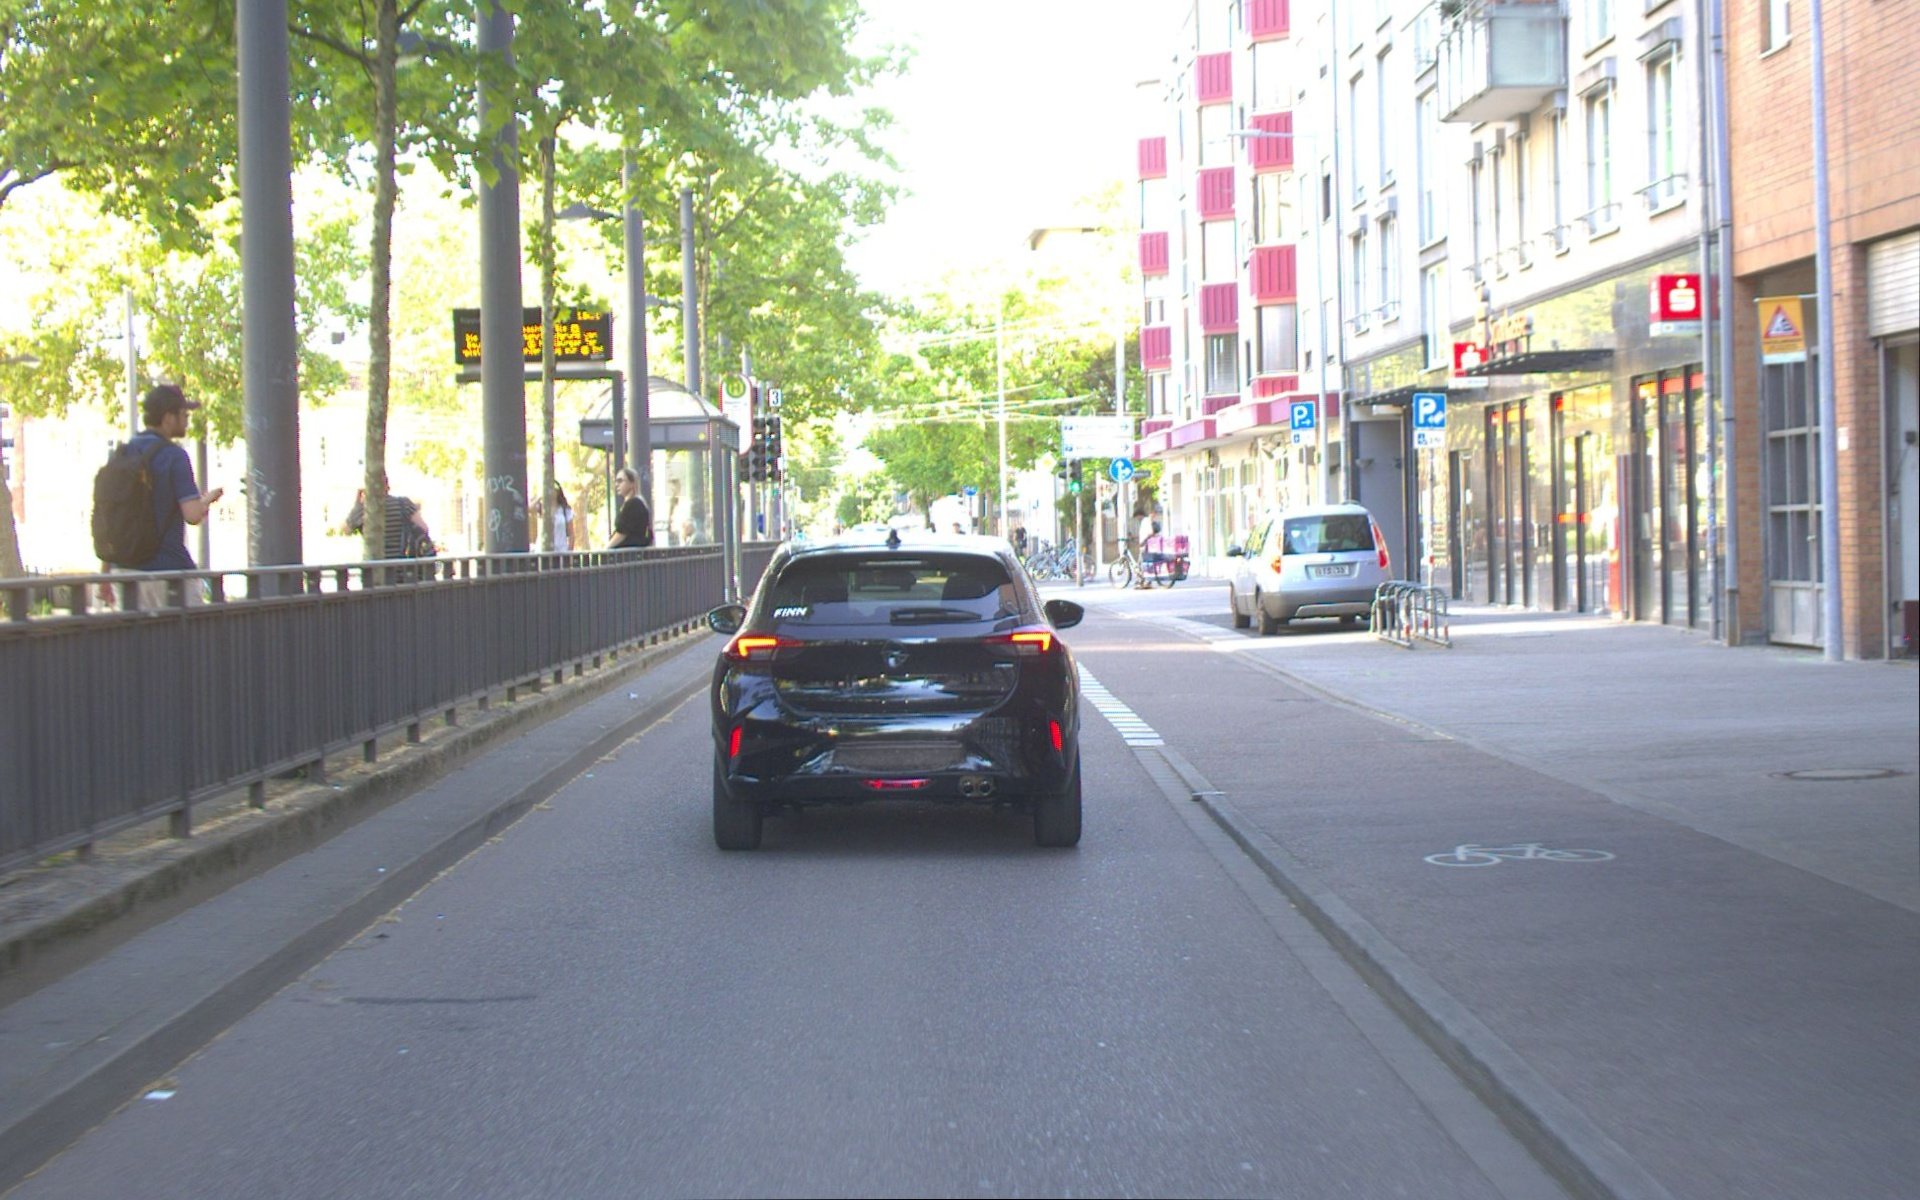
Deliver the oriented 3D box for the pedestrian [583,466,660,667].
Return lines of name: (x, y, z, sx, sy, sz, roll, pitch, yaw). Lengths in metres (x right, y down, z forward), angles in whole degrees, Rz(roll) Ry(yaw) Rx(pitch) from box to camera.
pedestrian: (-3.219, -0.321, 32.710, 0.646, 1.880, 0.661, -1, 1, -1)

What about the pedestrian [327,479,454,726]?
pedestrian: (-3.990, 0.008, 24.129, 0.729, 1.696, 0.863, 0, 1, 1)

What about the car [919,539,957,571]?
car: (-1.119, -2.269, 173.818, 1.790, 1.505, 3.874, -3, 1, -1)

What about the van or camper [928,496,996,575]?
van or camper: (0.053, -2.745, 146.873, 2.375, 3.114, 7.552, -4, 1, -3)

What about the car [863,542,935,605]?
car: (-1.624, -0.733, 92.168, 1.832, 1.617, 4.285, -1, 1, -1)

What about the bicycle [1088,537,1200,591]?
bicycle: (4.162, -0.818, 77.975, 0.961, 1.179, 2.597, -2, 1, -42)

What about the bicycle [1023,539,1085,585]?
bicycle: (2.507, -1.021, 91.814, 1.623, 1.195, 0.496, -1, 1, 3)

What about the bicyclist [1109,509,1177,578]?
bicyclist: (4.145, -1.289, 77.968, 1.057, 1.534, 1.078, -2, 1, -42)

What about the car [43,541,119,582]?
car: (-38.583, -1.718, 151.022, 1.994, 1.697, 4.377, -1, 1, 3)

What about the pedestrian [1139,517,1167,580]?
pedestrian: (5.730, -1.532, 102.045, 0.722, 1.851, 0.801, -1, 1, -2)

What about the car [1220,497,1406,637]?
car: (4.526, -0.446, 44.594, 1.832, 1.617, 4.285, -4, 1, -1)

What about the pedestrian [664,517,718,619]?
pedestrian: (-3.531, -0.423, 45.187, 0.626, 1.315, 0.801, -1, 1, 0)

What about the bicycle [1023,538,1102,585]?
bicycle: (2.687, -1.003, 90.359, 1.976, 1.195, 0.591, -1, 1, -5)

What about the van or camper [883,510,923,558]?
van or camper: (-3.630, -4.198, 220.455, 2.486, 2.983, 5.434, 1, 1, -1)

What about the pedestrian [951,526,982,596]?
pedestrian: (0.164, -0.988, 86.364, 0.734, 1.741, 0.712, -1, 1, 4)

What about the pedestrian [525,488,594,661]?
pedestrian: (-4.381, -0.280, 37.617, 0.645, 1.865, 0.753, -1, 1, 0)

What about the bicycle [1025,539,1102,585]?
bicycle: (2.695, -0.991, 89.623, 1.939, 1.166, 0.572, -1, 1, -4)

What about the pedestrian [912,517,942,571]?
pedestrian: (-1.230, -2.096, 128.561, 1.036, 2.017, 1.213, -1, 1, -3)

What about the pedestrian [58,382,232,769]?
pedestrian: (-3.893, -0.124, 16.479, 0.706, 1.796, 0.827, -1, 1, -8)

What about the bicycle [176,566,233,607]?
bicycle: (-17.859, -0.327, 81.286, 0.813, 0.943, 1.725, -1, 1, 5)

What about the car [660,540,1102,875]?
car: (-0.366, 0.433, 17.113, 1.905, 1.420, 4.216, -1, 1, -1)

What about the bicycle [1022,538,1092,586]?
bicycle: (2.568, -1.007, 91.244, 1.831, 1.216, 0.496, -1, 1, 2)
